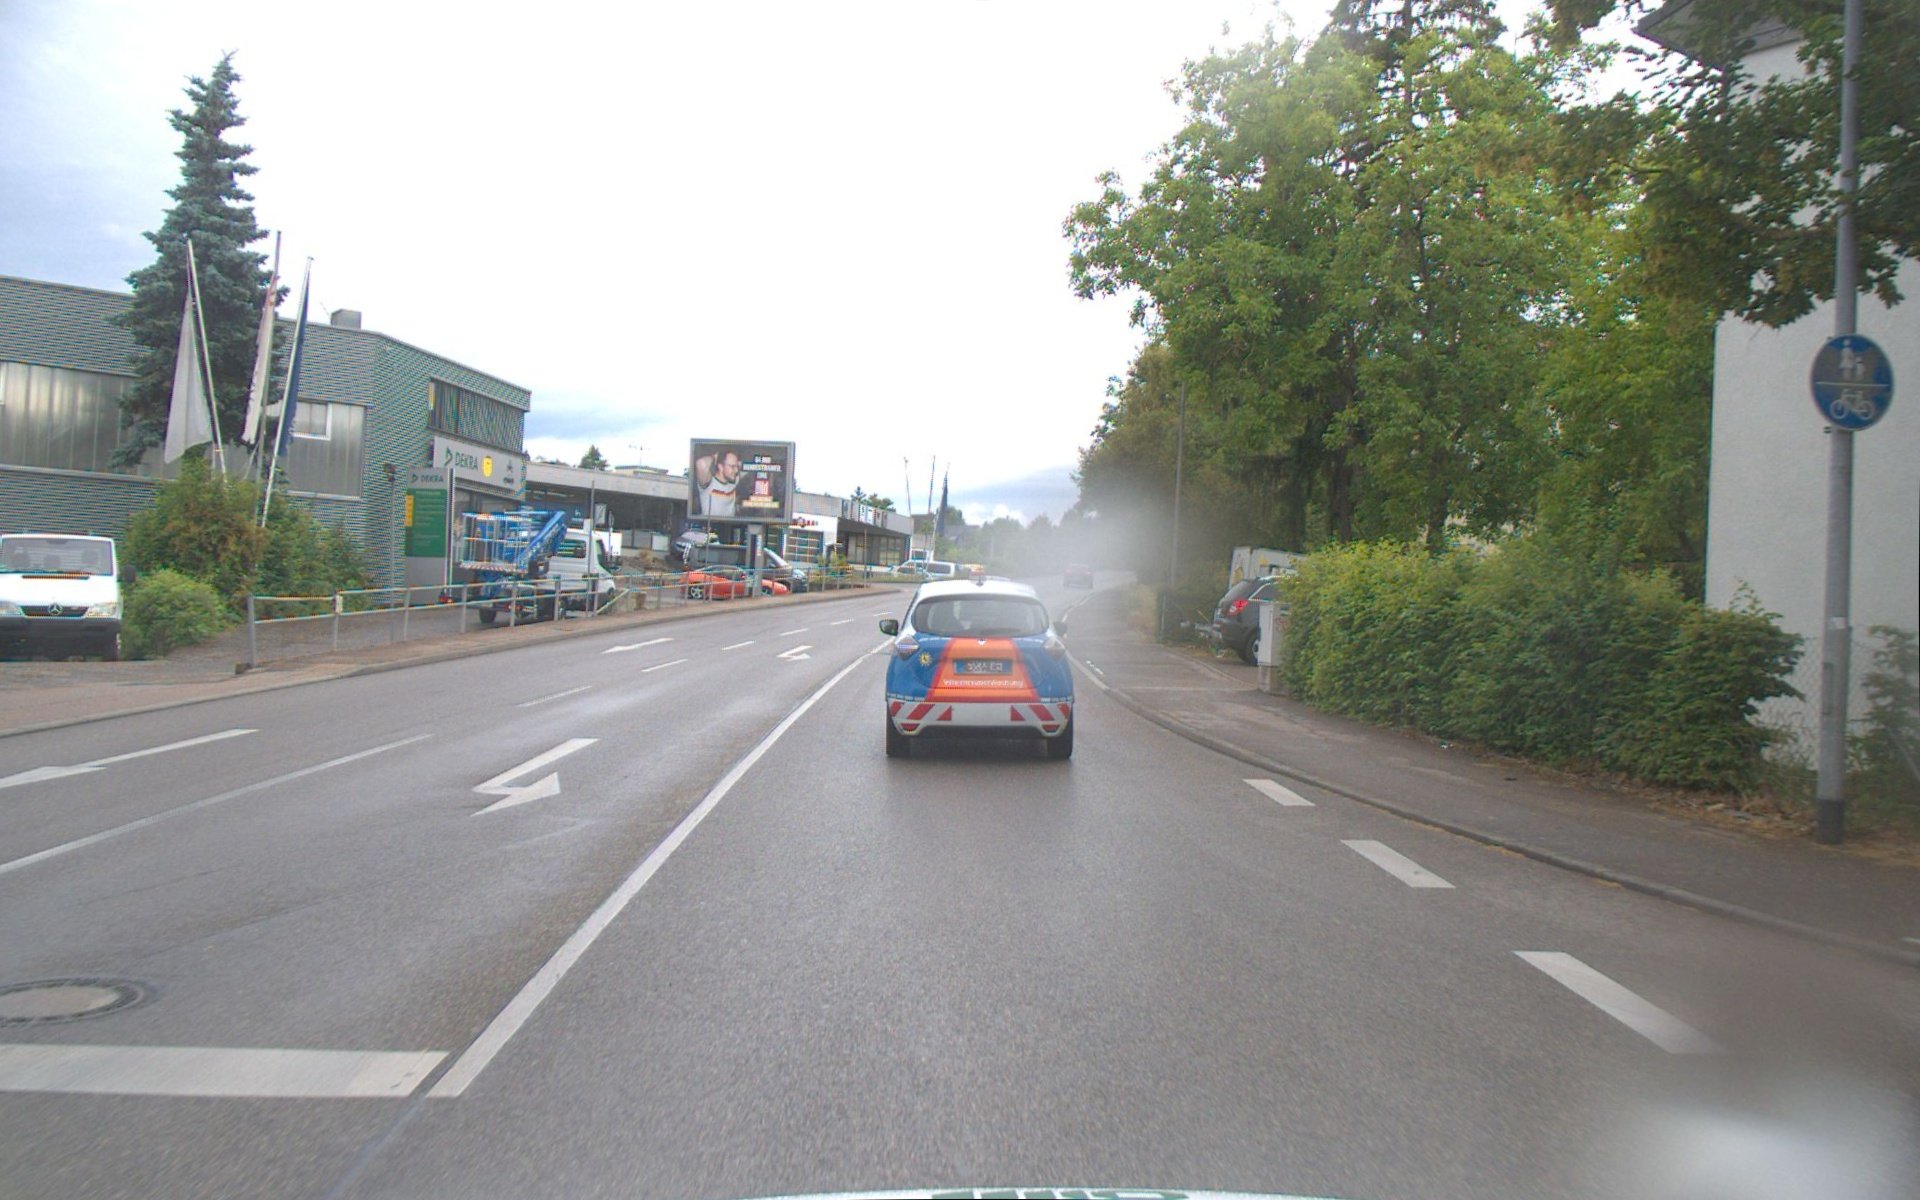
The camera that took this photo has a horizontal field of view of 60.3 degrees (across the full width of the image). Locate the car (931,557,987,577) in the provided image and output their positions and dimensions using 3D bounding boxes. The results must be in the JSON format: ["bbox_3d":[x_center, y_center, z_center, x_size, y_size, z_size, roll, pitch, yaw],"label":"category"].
[{"bbox_3d":[-0.048,-2.448,122.350,3.977,1.313,1.806,2,2,5],"label":"car"}]

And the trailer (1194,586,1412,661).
[{"bbox_3d":[7.286,0.489,35.394,4.307,1.310,1.572,3,2,0],"label":"trailer"}]

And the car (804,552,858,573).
[{"bbox_3d":[-9.995,-2.891,127.925,3.953,1.440,1.941,4,2,43],"label":"car"}]

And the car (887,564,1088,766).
[{"bbox_3d":[0.161,0.532,15.794,1.624,1.620,3.567,3,1,-3],"label":"car"}]

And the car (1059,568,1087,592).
[{"bbox_3d":[7.090,-1.239,103.502,1.580,1.431,3.500,2,1,6],"label":"car"}]

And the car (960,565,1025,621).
[{"bbox_3d":[1.046,-0.223,51.535,1.764,1.617,3.565,2,1,4],"label":"car"}]

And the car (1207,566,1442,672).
[{"bbox_3d":[7.039,0.336,32.295,4.126,1.780,1.985,3,2,2],"label":"car"}]

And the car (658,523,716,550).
[{"bbox_3d":[-16.454,-3.797,99.779,1.780,1.503,4.025,3,2,17],"label":"car"}]

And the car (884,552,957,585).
[{"bbox_3d":[-2.466,-1.990,104.055,4.319,1.829,1.936,3,2,7],"label":"car"}]

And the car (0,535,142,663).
[{"bbox_3d":[-14.988,-0.077,27.575,2.029,1.903,4.255,2,1,-22],"label":"car"}]

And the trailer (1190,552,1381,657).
[{"bbox_3d":[7.304,0.085,37.356,3.872,2.056,1.687,4,1,0],"label":"trailer"}]

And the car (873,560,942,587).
[{"bbox_3d":[-3.192,-1.651,101.609,3.924,1.503,1.825,3,2,7],"label":"car"}]

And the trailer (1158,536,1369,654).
[{"bbox_3d":[7.171,-0.131,39.373,4.448,2.442,1.947,4,1,-7],"label":"trailer"}]

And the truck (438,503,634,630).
[{"bbox_3d":[-9.992,-0.888,39.847,1.951,2.678,7.899,2,2,5],"label":"truck"}]

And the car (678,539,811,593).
[{"bbox_3d":[-8.470,-1.341,65.311,4.963,1.903,1.823,2,1,0],"label":"car"}]

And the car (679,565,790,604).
[{"bbox_3d":[-8.478,-0.608,62.420,4.011,1.289,1.768,2,1,-5],"label":"car"}]
